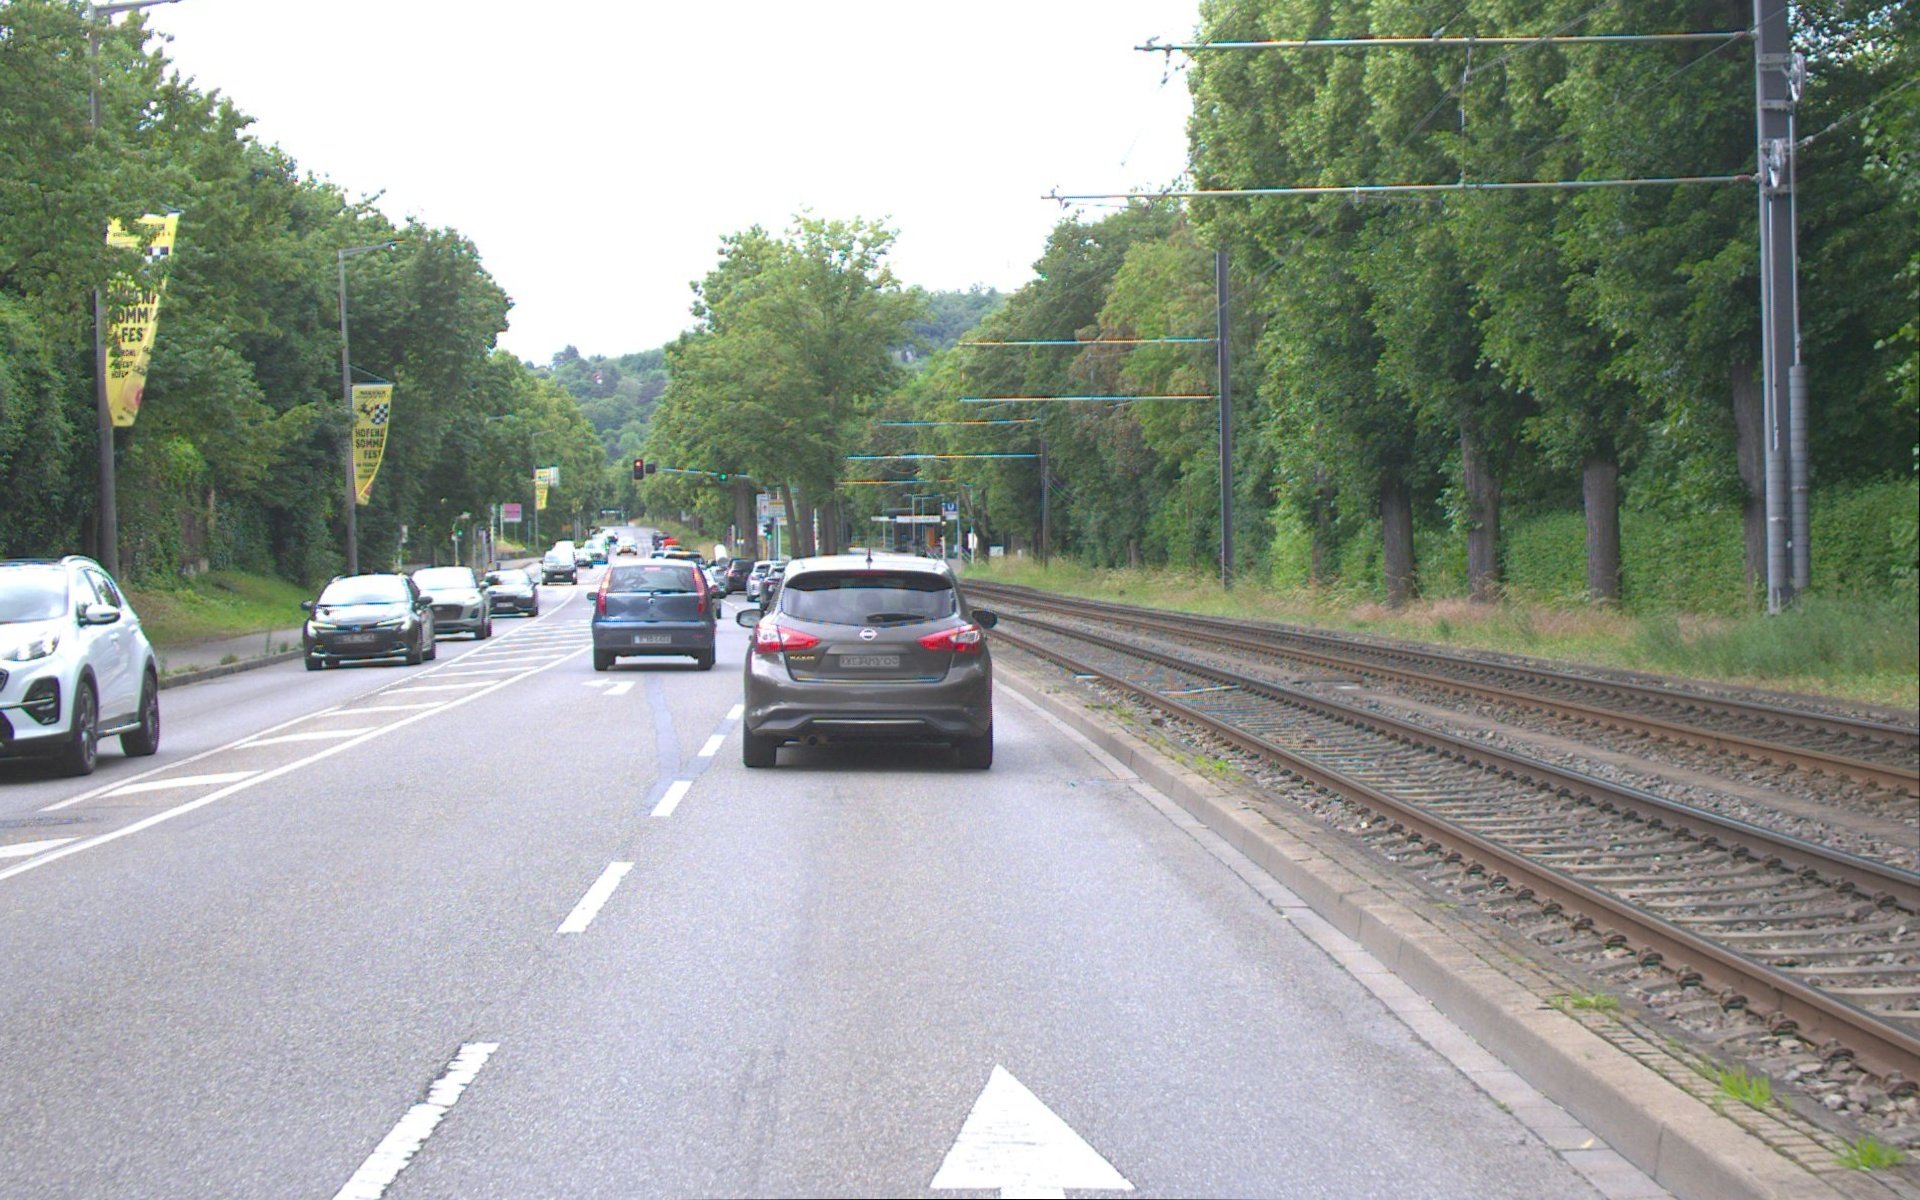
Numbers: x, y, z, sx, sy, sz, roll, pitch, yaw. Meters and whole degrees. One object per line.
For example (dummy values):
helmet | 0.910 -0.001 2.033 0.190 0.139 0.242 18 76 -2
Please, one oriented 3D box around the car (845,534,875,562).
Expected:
car | -6.114 -3.167 209.857 1.715 1.657 3.708 0 0 -4

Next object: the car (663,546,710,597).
car | -10.211 -1.043 128.353 1.715 1.857 4.001 0 0 -5

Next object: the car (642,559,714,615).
car | -7.415 -0.350 90.535 1.715 1.430 4.000 0 0 -2

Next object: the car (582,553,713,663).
car | -4.236 0.073 47.040 1.699 1.438 4.001 0 1 -4

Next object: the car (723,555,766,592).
car | -9.143 -1.106 146.061 1.715 1.545 4.000 0 0 -2

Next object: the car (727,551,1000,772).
car | -0.698 0.392 25.506 1.850 1.488 4.000 1 1 -1

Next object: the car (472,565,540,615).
car | -13.642 -0.328 103.426 1.841 1.371 4.448 -3 1 -6

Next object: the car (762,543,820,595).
car | -5.139 -0.934 104.869 1.715 1.545 4.000 0 0 -2

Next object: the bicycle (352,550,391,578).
bicycle | -23.021 -1.410 134.490 0.499 1.104 1.797 0 1 28

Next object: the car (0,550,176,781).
car | -7.350 0.468 26.358 1.841 1.615 4.160 -2 1 -3

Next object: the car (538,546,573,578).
car | -22.273 -2.097 189.323 1.715 1.754 4.000 0 0 -4

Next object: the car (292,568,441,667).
car | -9.275 0.238 54.001 1.766 1.395 4.216 -3 1 -3

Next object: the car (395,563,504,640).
car | -10.578 0.008 71.463 1.826 1.452 4.143 -3 1 -4

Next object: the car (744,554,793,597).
car | -6.930 -0.876 124.732 1.715 1.545 4.000 0 0 -2
